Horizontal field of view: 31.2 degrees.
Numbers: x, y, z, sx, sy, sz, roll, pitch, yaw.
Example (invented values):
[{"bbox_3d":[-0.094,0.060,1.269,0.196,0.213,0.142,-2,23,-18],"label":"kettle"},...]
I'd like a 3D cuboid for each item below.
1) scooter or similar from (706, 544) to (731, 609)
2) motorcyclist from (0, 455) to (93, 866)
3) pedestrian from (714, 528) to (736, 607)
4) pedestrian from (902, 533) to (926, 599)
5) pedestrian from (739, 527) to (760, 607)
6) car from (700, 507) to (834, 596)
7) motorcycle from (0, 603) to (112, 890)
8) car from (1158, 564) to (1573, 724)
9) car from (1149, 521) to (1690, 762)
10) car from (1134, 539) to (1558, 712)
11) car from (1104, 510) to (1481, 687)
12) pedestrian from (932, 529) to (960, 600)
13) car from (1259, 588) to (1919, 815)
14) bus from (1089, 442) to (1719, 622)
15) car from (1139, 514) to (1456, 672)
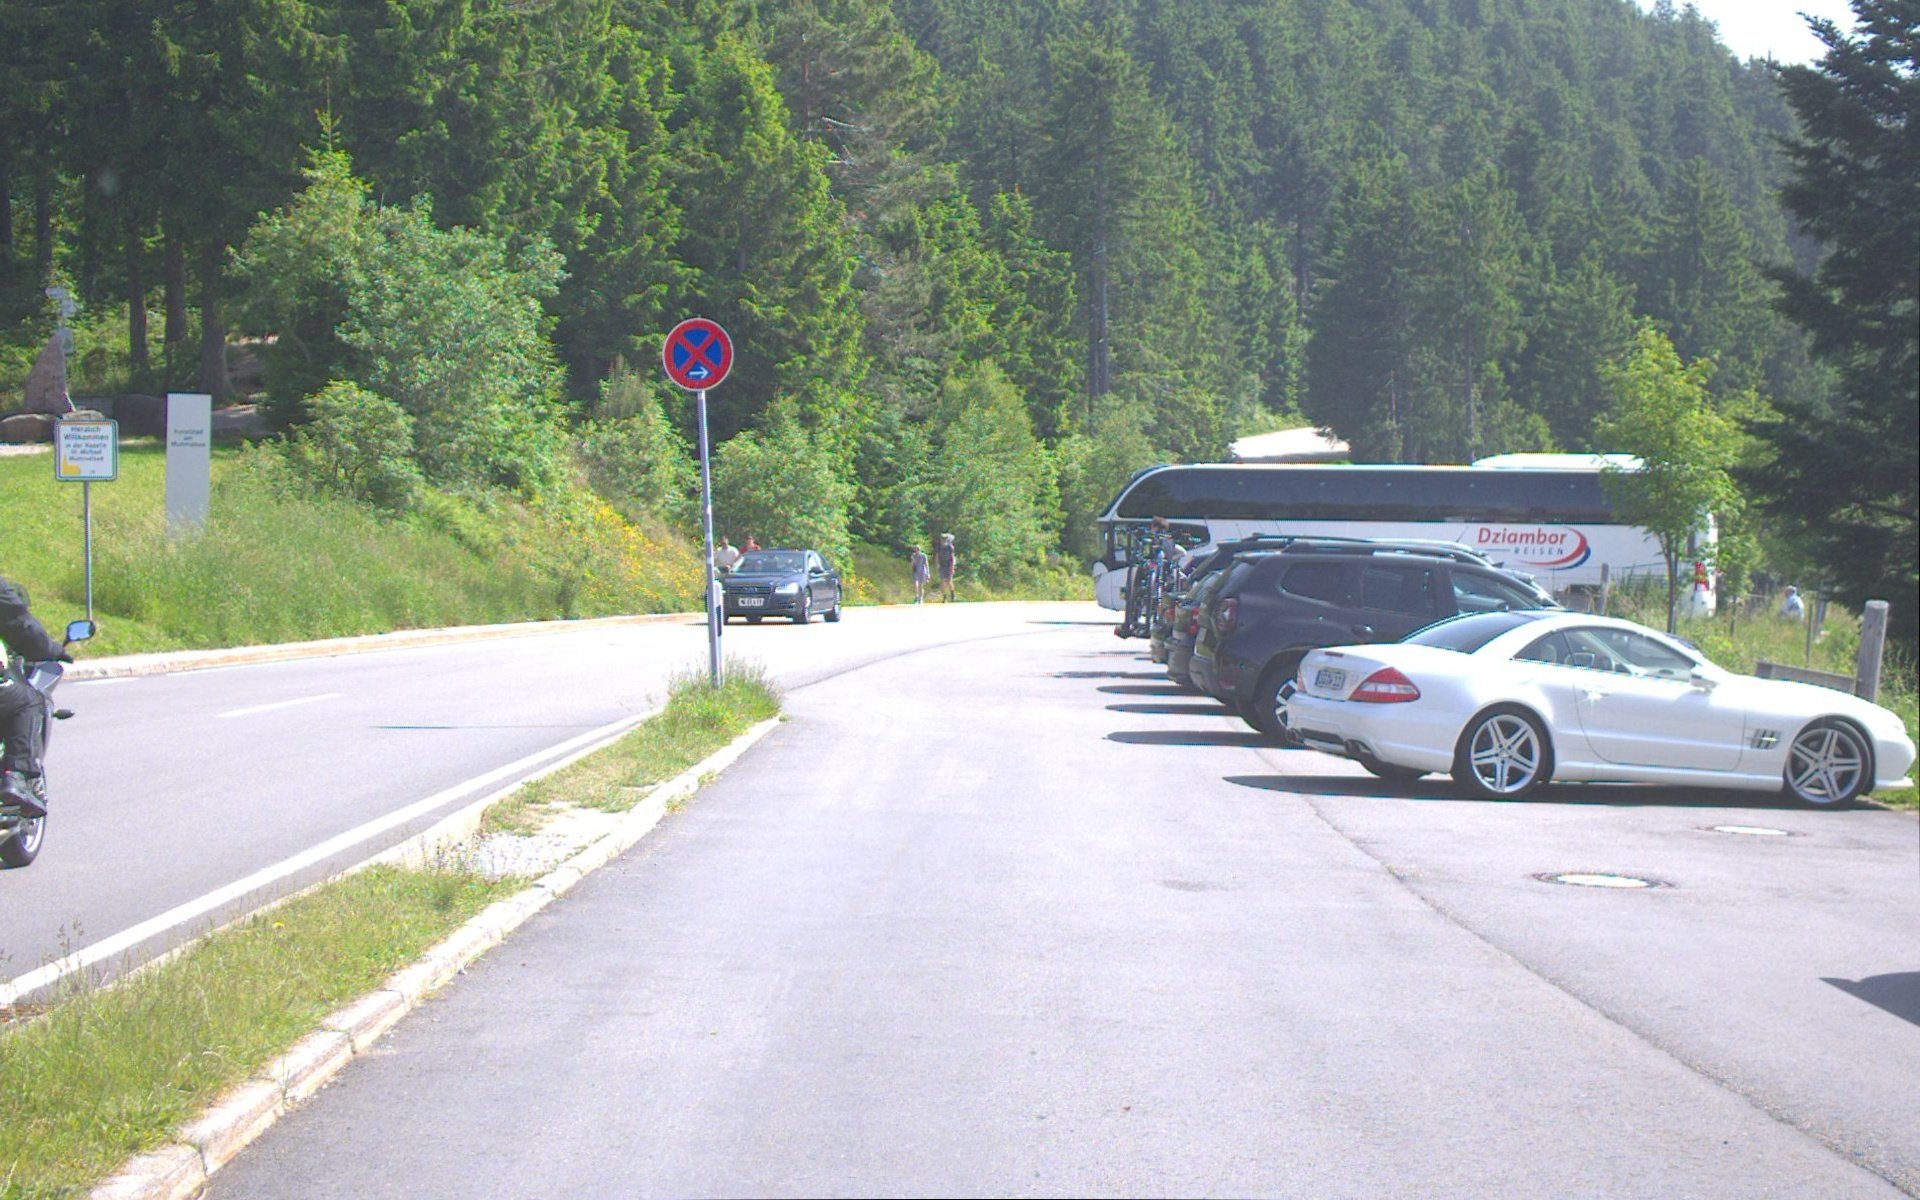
[{"bbox_3d":[-5.354,-0.521,76.241,0.483,1.375,0.817,-2,3,-1],"label":"scooter or similar"},{"bbox_3d":[-4.364,0.249,14.615,1.025,1.669,1.293,0,0,0],"label":"motorcyclist"},{"bbox_3d":[-5.257,-0.733,76.884,0.414,1.741,0.457,-2,3,-1],"label":"pedestrian"},{"bbox_3d":[-1.316,-0.976,99.177,0.622,1.893,0.655,-2,0,-1],"label":"pedestrian"},{"bbox_3d":[-4.678,-0.730,76.441,0.394,1.741,0.406,-2,3,-1],"label":"pedestrian"},{"bbox_3d":[-3.734,-0.969,67.255,1.994,1.656,3.999,-1,1,6],"label":"car"},{"bbox_3d":[-4.344,0.601,14.771,0.822,1.173,2.286,0,0,0],"label":"motorcycle"},{"bbox_3d":[3.782,0.396,32.433,3.635,1.299,1.641,2,3,-2],"label":"car"},{"bbox_3d":[3.782,0.323,28.730,3.986,1.693,2.001,3,2,-8],"label":"car"},{"bbox_3d":[3.898,0.242,35.237,3.986,1.448,2.000,3,3,-2],"label":"car"},{"bbox_3d":[3.723,-0.037,39.043,3.987,1.713,1.868,3,3,-1],"label":"car"},{"bbox_3d":[-0.404,-1.003,98.147,0.732,2.007,0.862,-2,0,-1],"label":"pedestrian"},{"bbox_3d":[4.516,0.717,24.262,4.452,1.294,1.583,3,1,-17],"label":"car"},{"bbox_3d":[9.328,-1.481,72.401,12.870,3.565,2.980,0,3,16],"label":"bus"},{"bbox_3d":[4.475,-0.120,46.078,3.987,1.808,1.940,3,3,1],"label":"car"}]
